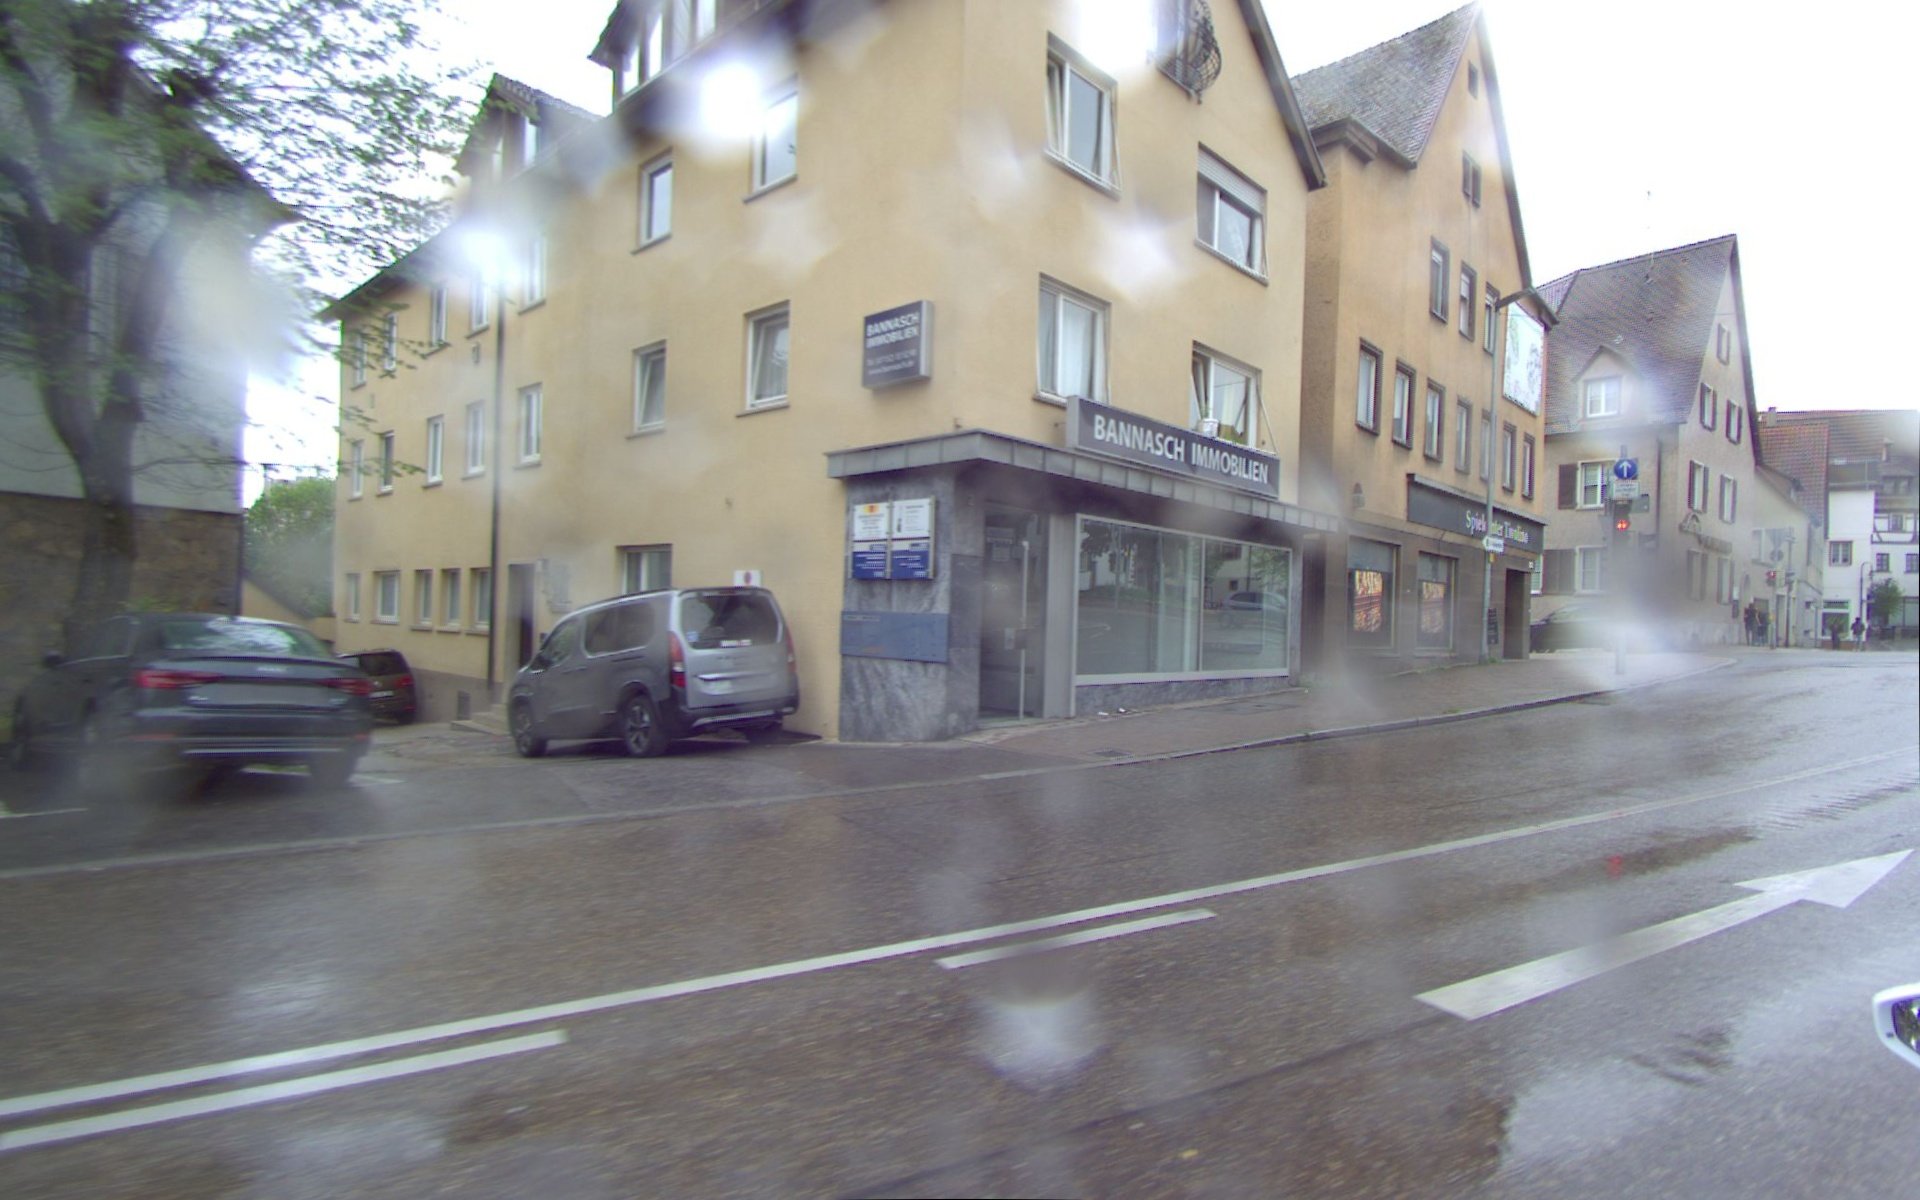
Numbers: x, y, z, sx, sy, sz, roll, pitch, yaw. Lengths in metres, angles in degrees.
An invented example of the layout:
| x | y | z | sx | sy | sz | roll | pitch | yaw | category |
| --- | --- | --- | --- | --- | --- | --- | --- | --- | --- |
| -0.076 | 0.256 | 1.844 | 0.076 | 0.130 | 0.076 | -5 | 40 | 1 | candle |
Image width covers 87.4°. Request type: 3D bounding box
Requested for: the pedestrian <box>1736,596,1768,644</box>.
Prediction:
| x | y | z | sx | sy | sz | roll | pitch | yaw | category |
| --- | --- | --- | --- | --- | --- | --- | --- | --- | --- |
| 31.352 | 0.800 | 39.764 | 0.785 | 1.854 | 0.713 | -3 | -2 | 30 | pedestrian |

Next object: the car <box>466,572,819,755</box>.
| x | y | z | sx | sy | sz | roll | pitch | yaw | category |
| --- | --- | --- | --- | --- | --- | --- | --- | --- | --- |
| -4.119 | 0.851 | 12.503 | 4.867 | 1.849 | 1.952 | -7 | -4 | 42 | car |

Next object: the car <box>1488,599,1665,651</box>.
| x | y | z | sx | sy | sz | roll | pitch | yaw | category |
| --- | --- | --- | --- | --- | --- | --- | --- | --- | --- |
| 20.259 | 0.814 | 33.174 | 1.815 | 1.609 | 4.693 | 1 | -2 | -40 | car |

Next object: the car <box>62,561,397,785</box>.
| x | y | z | sx | sy | sz | roll | pitch | yaw | category |
| --- | --- | --- | --- | --- | --- | --- | --- | --- | --- |
| -6.474 | 0.633 | 8.726 | 1.887 | 1.472 | 3.951 | 2 | -5 | -43 | car |

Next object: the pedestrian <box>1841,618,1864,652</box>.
| x | y | z | sx | sy | sz | roll | pitch | yaw | category |
| --- | --- | --- | --- | --- | --- | --- | --- | --- | --- |
| 46.232 | 1.810 | 52.009 | 0.626 | 1.755 | 0.772 | -1 | -1 | -41 | pedestrian |

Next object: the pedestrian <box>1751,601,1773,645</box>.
| x | y | z | sx | sy | sz | roll | pitch | yaw | category |
| --- | --- | --- | --- | --- | --- | --- | --- | --- | --- |
| 32.772 | 0.945 | 41.039 | 0.532 | 1.752 | 0.550 | 2 | -1 | -36 | pedestrian |

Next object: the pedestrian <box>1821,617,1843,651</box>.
| x | y | z | sx | sy | sz | roll | pitch | yaw | category |
| --- | --- | --- | --- | --- | --- | --- | --- | --- | --- |
| 45.691 | 1.800 | 52.643 | 0.626 | 1.755 | 0.772 | -1 | -1 | -41 | pedestrian |
